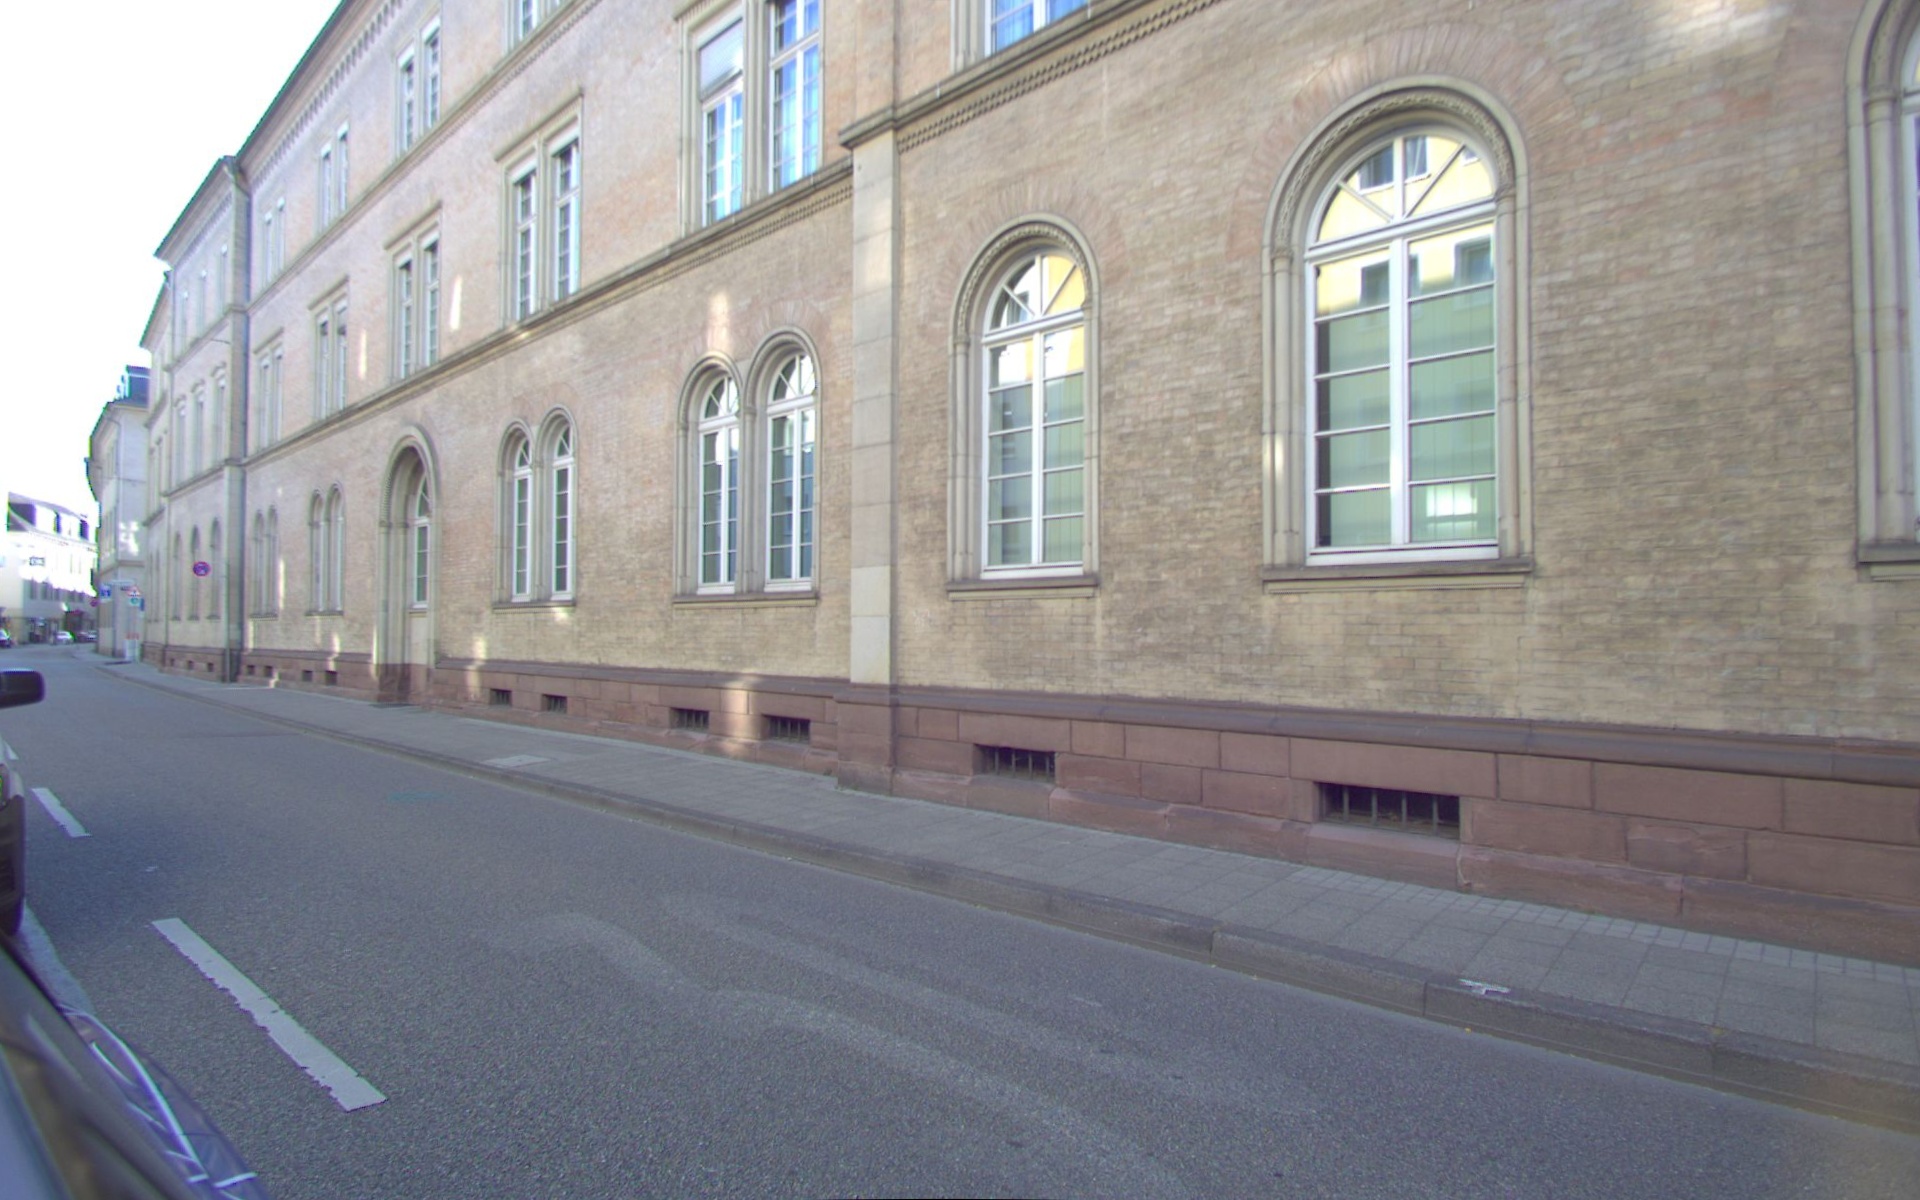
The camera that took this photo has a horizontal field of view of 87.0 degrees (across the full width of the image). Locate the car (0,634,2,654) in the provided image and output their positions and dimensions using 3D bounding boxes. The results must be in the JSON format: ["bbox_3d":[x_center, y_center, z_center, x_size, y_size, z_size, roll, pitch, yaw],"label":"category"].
[{"bbox_3d":[-86.619,3.926,89.962,1.969,1.665,4.235,-1,0,-41],"label":"car"}]

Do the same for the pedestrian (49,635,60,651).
[{"bbox_3d":[-91.578,4.361,102.371,0.694,1.648,0.834,5,-4,-38],"label":"pedestrian"}]

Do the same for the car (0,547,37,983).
[{"bbox_3d":[-6.440,0.686,5.319,5.329,1.784,1.747,-1,-2,41],"label":"car"}]

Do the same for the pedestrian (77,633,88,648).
[{"bbox_3d":[-99.296,4.546,114.521,0.694,1.648,0.834,5,-4,-36],"label":"pedestrian"}]

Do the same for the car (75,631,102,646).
[{"bbox_3d":[-109.234,4.809,126.840,1.966,1.665,4.240,-1,0,-33],"label":"car"}]

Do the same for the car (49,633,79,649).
[{"bbox_3d":[-102.860,4.727,116.187,1.966,1.665,4.240,-1,0,-33],"label":"car"}]
